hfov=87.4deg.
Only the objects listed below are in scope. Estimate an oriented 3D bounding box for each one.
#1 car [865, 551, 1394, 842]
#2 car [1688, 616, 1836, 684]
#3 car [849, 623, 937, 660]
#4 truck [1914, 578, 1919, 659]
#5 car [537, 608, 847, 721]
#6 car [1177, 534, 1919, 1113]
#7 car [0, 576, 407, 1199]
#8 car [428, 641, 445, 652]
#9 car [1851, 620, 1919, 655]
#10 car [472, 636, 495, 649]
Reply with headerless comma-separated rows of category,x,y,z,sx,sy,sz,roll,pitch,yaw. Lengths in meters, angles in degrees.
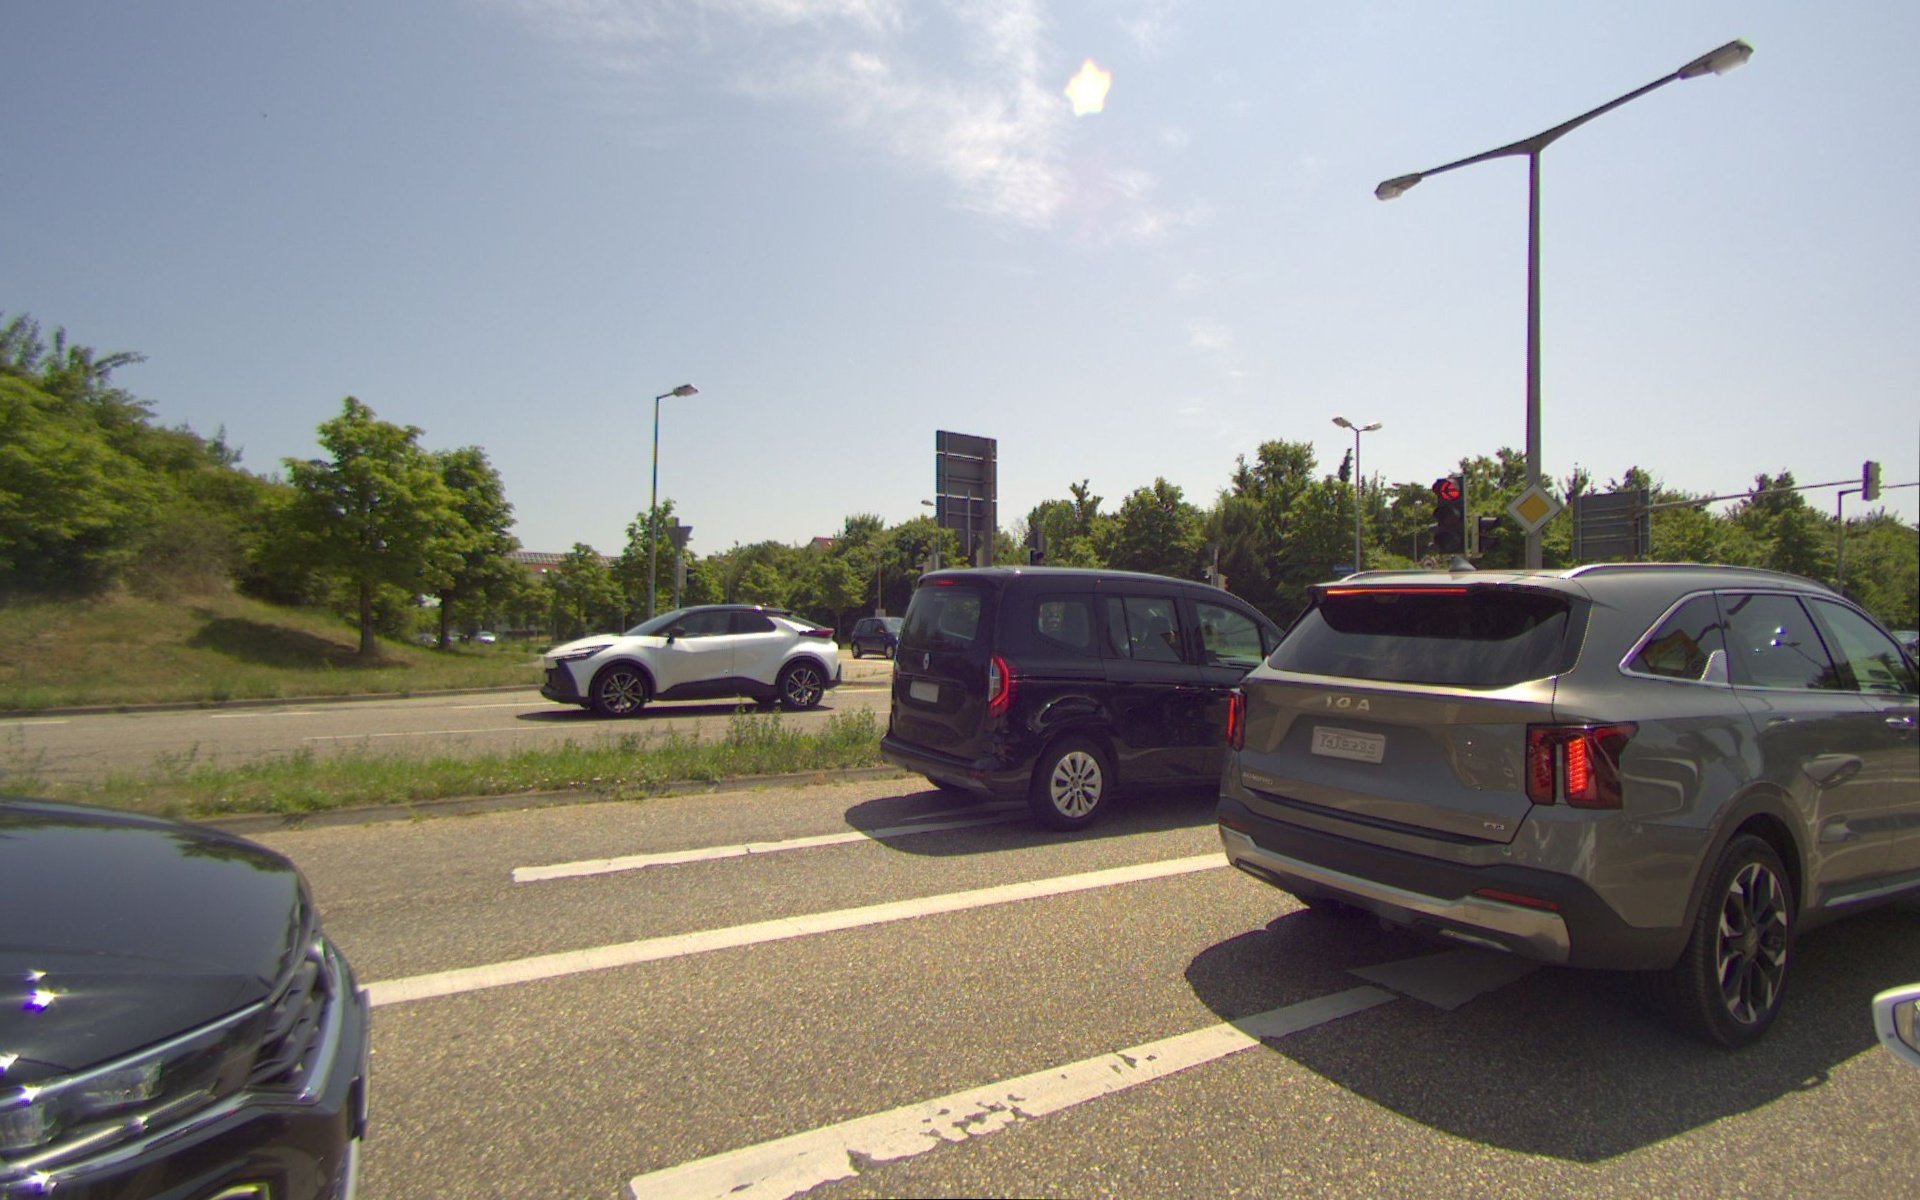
car,1.509,0.662,8.282,4.274,1.850,1.722,1,-1,-32
car,21.312,1.284,26.665,4.173,1.685,1.699,1,-1,-30
car,-2.642,1.589,38.958,1.685,1.353,3.964,1,-2,-33
truck,46.787,0.874,46.006,7.184,3.618,2.674,1,-1,-31
car,-3.936,0.889,14.899,4.120,1.475,1.814,1,-1,-31
car,3.393,0.715,4.887,4.590,1.684,1.795,2,-1,-31
car,-2.909,0.681,1.157,3.924,1.532,1.726,2,0,-31
car,-71.258,6.276,136.725,1.617,1.379,3.961,1,-1,-35
car,47.844,1.908,51.382,4.863,1.755,1.816,1,-1,-28
car,-51.604,4.594,108.763,1.617,1.379,3.962,1,-1,-34
